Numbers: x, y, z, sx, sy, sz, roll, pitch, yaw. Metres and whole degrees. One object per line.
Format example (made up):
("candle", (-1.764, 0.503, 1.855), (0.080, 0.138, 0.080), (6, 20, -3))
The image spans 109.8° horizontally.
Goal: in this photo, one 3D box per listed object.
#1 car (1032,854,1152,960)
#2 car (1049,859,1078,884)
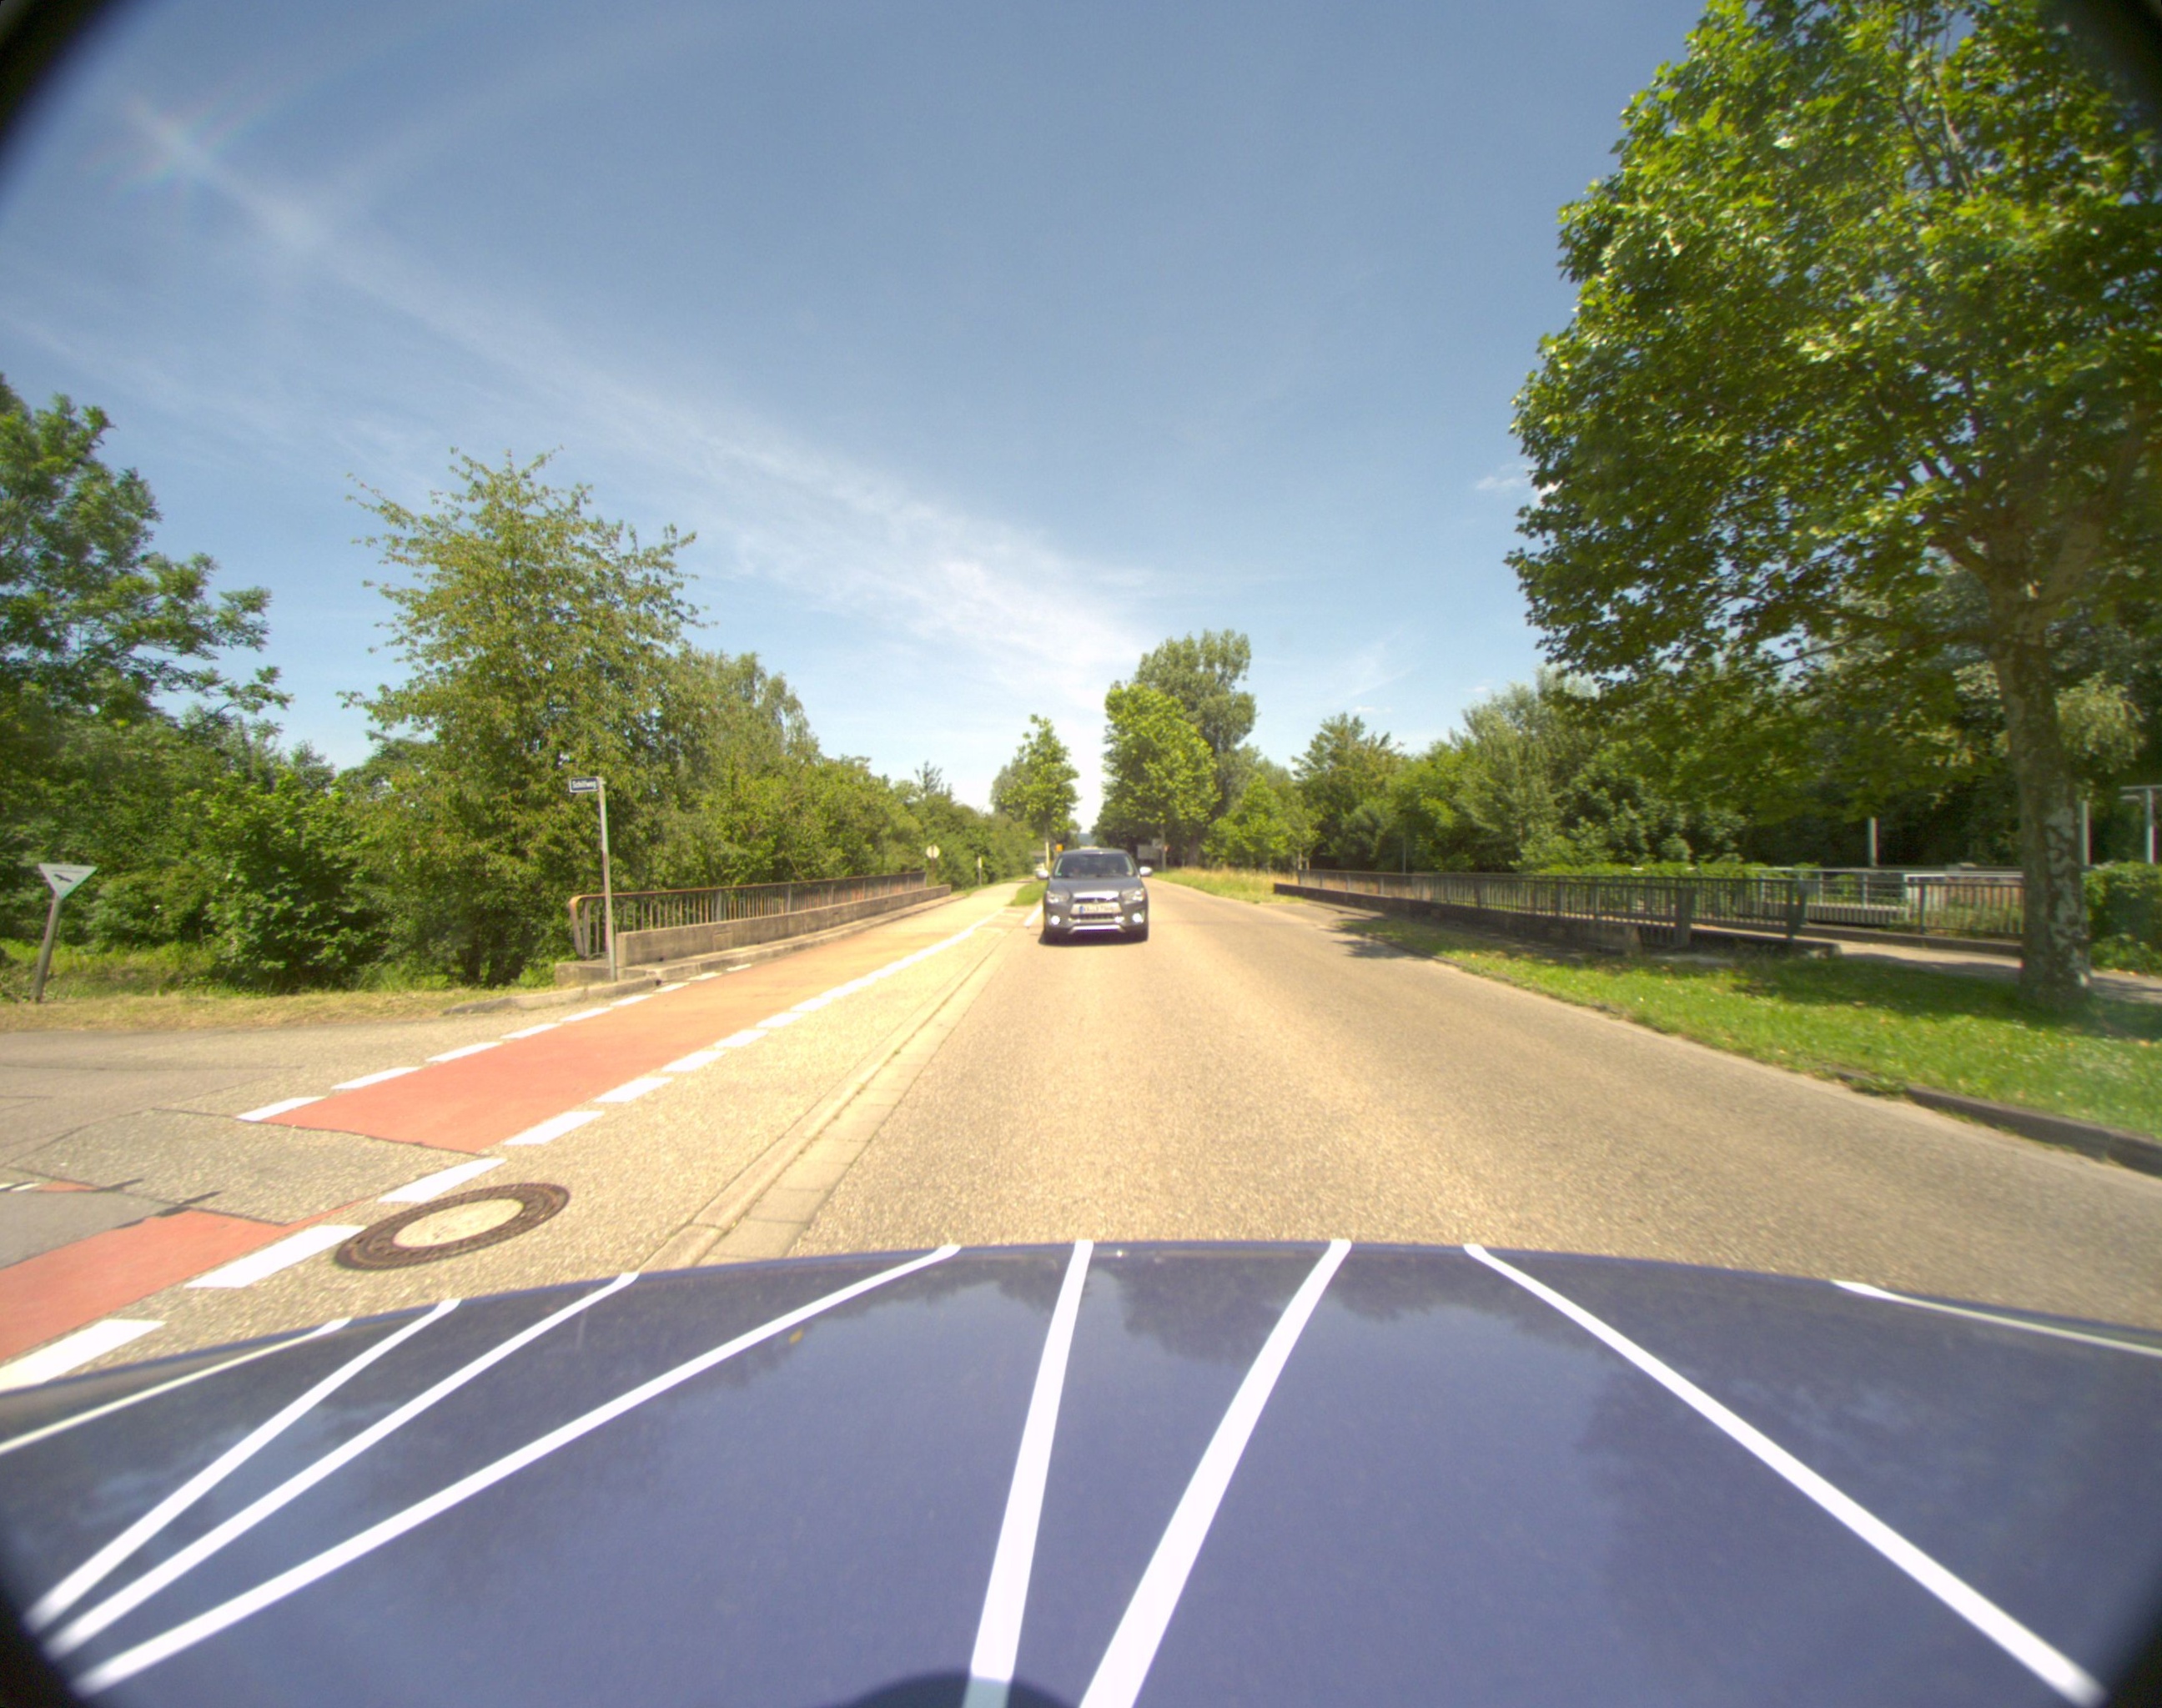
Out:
("car", (0.181, 0.783, 13.473), (1.750, 1.525, 4.524), (-1, 0, 0))
("car", (-1.054, 1.044, 46.732), (1.676, 1.342, 3.830), (-2, 0, -1))
